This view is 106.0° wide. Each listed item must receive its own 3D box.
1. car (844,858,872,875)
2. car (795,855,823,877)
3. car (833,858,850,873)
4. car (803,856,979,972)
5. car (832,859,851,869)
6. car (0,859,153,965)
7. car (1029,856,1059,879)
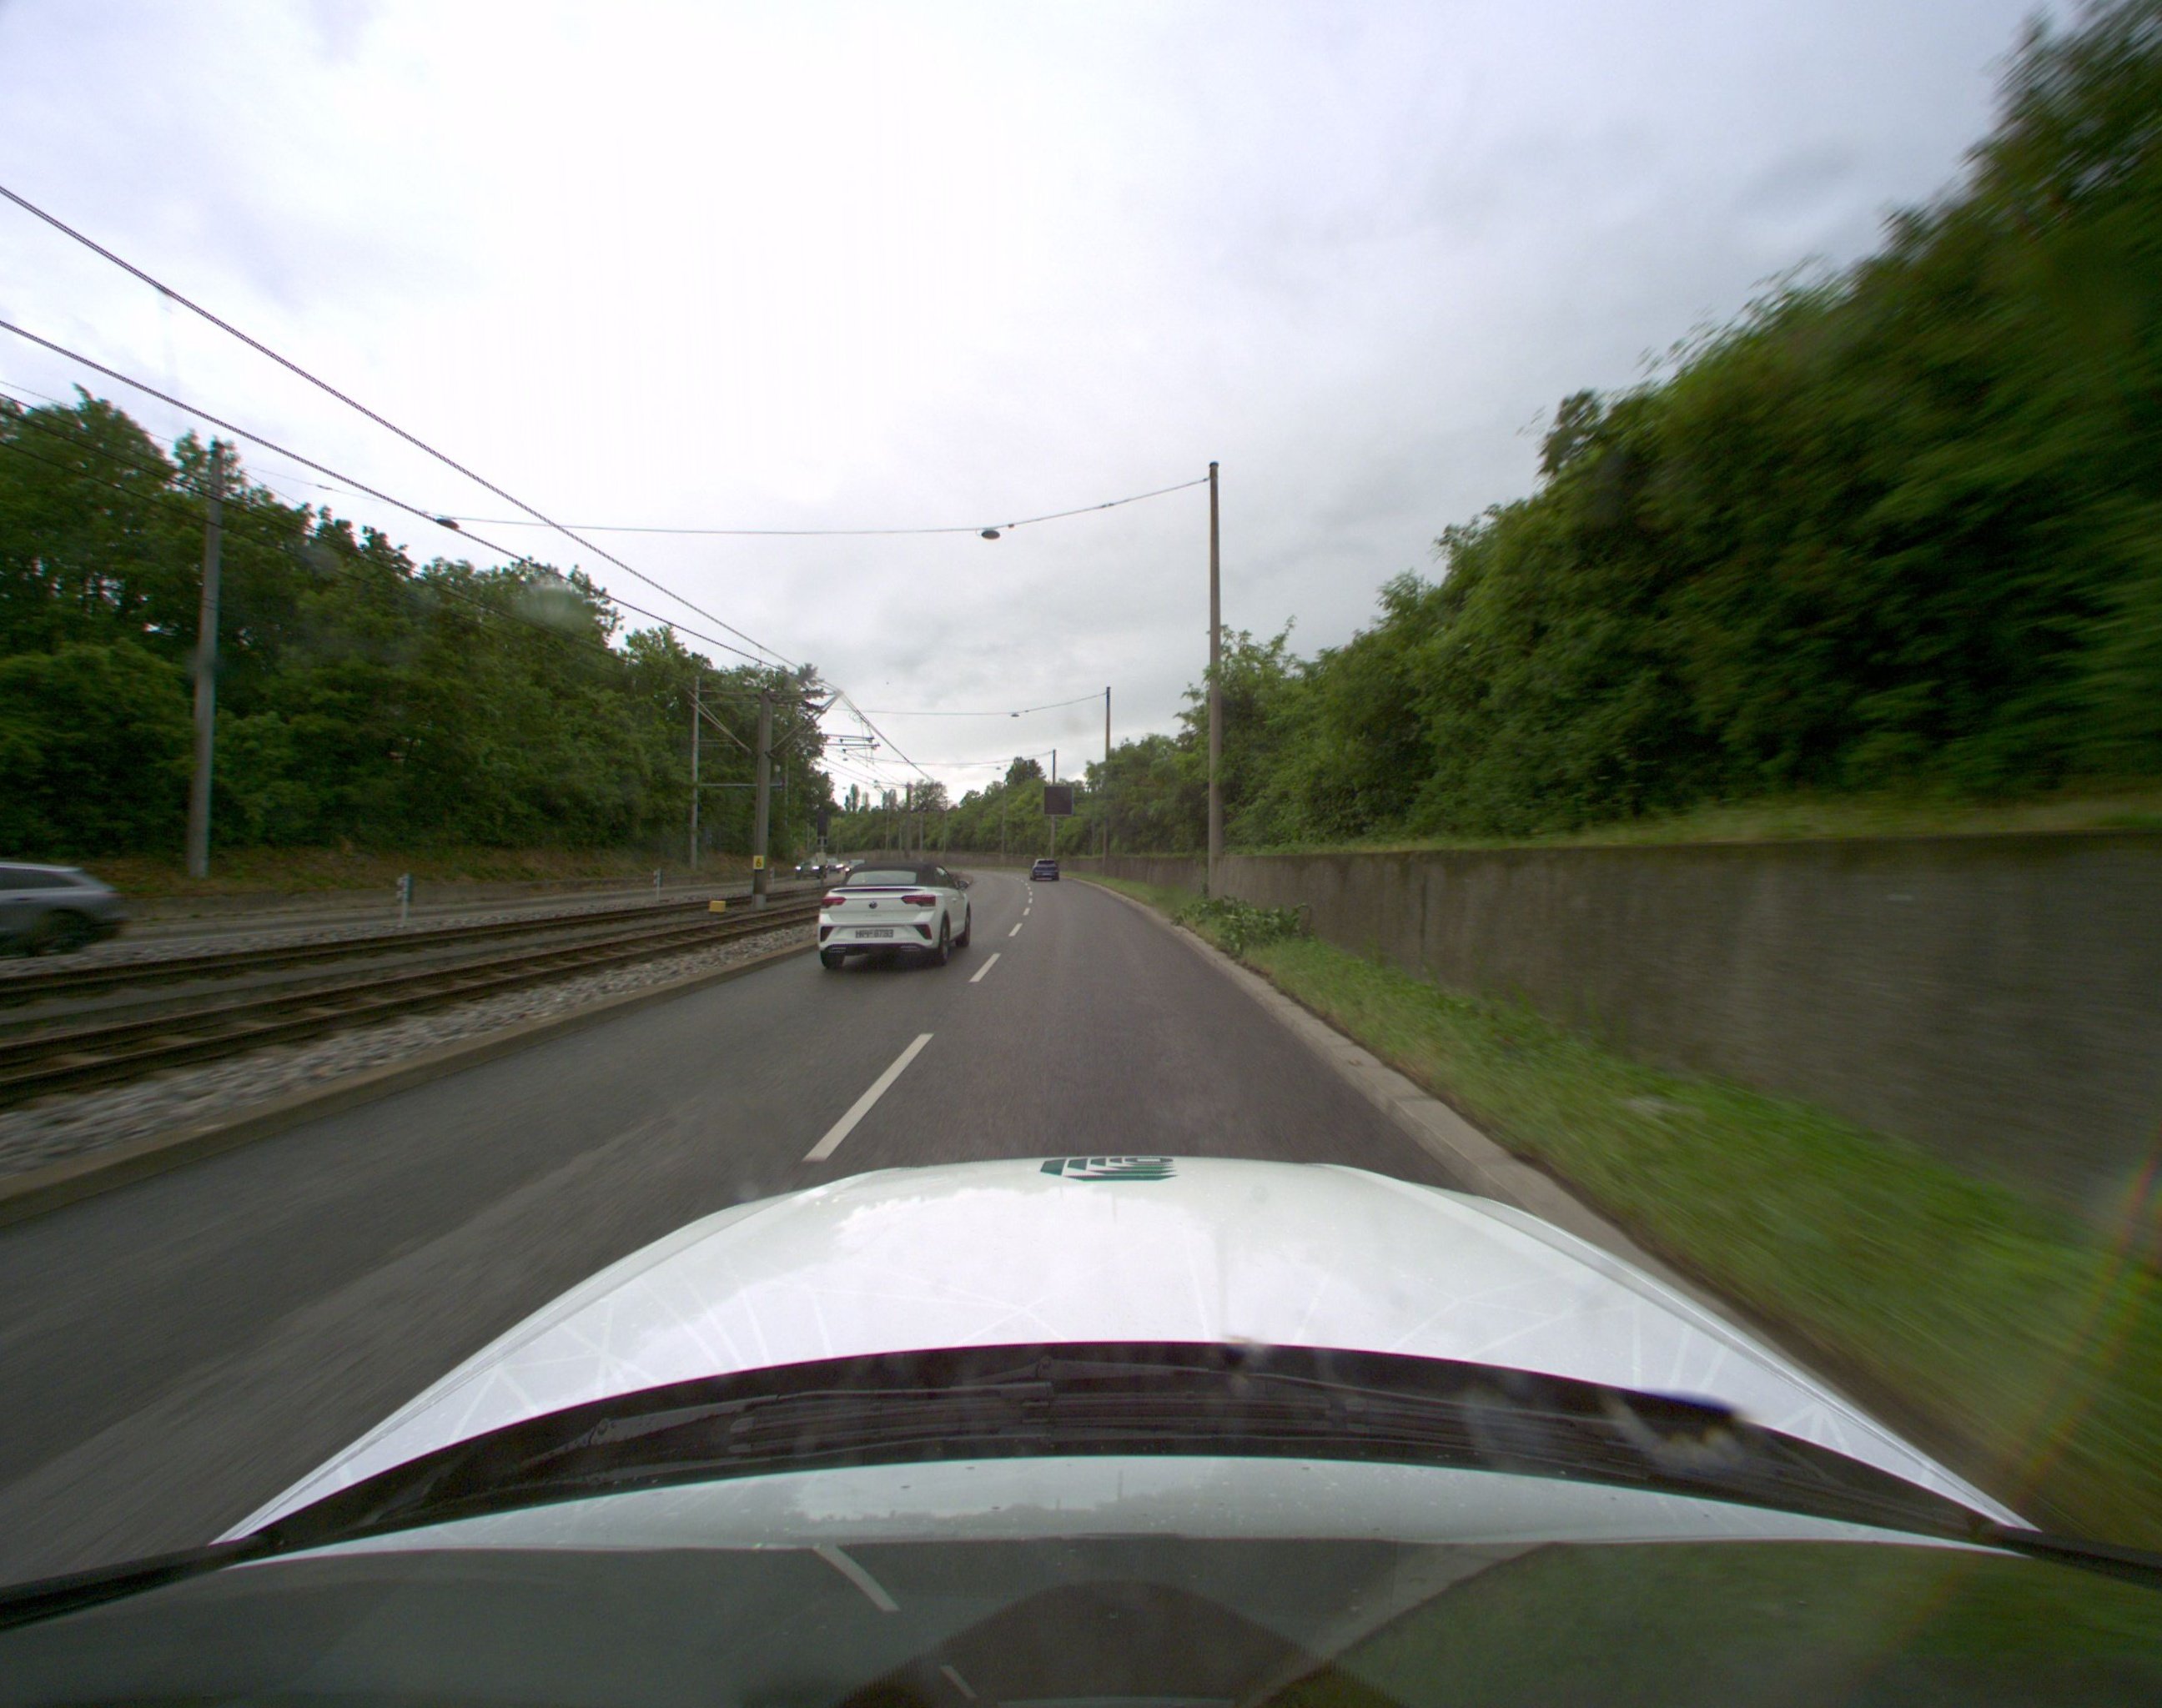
[{"bbox_3d":[-18.717,1.054,68.451,1.704,1.415,4.021,0,-1,-8],"label":"car"},{"bbox_3d":[-21.647,0.920,65.016,1.787,1.669,4.716,0,0,-15],"label":"car"},{"bbox_3d":[-26.891,1.295,91.383,1.711,1.607,4.385,-2,0,-17],"label":"car"},{"bbox_3d":[-2.842,0.825,13.266,1.866,1.524,4.537,-1,0,-1],"label":"car"},{"bbox_3d":[-33.068,1.342,112.365,1.554,1.258,3.920,-2,0,-31],"label":"car"},{"bbox_3d":[-15.721,0.836,10.492,1.855,1.438,4.856,-2,0,1],"label":"car"},{"bbox_3d":[-2.550,0.920,54.948,1.761,1.501,3.991,0,0,-7],"label":"car"}]
